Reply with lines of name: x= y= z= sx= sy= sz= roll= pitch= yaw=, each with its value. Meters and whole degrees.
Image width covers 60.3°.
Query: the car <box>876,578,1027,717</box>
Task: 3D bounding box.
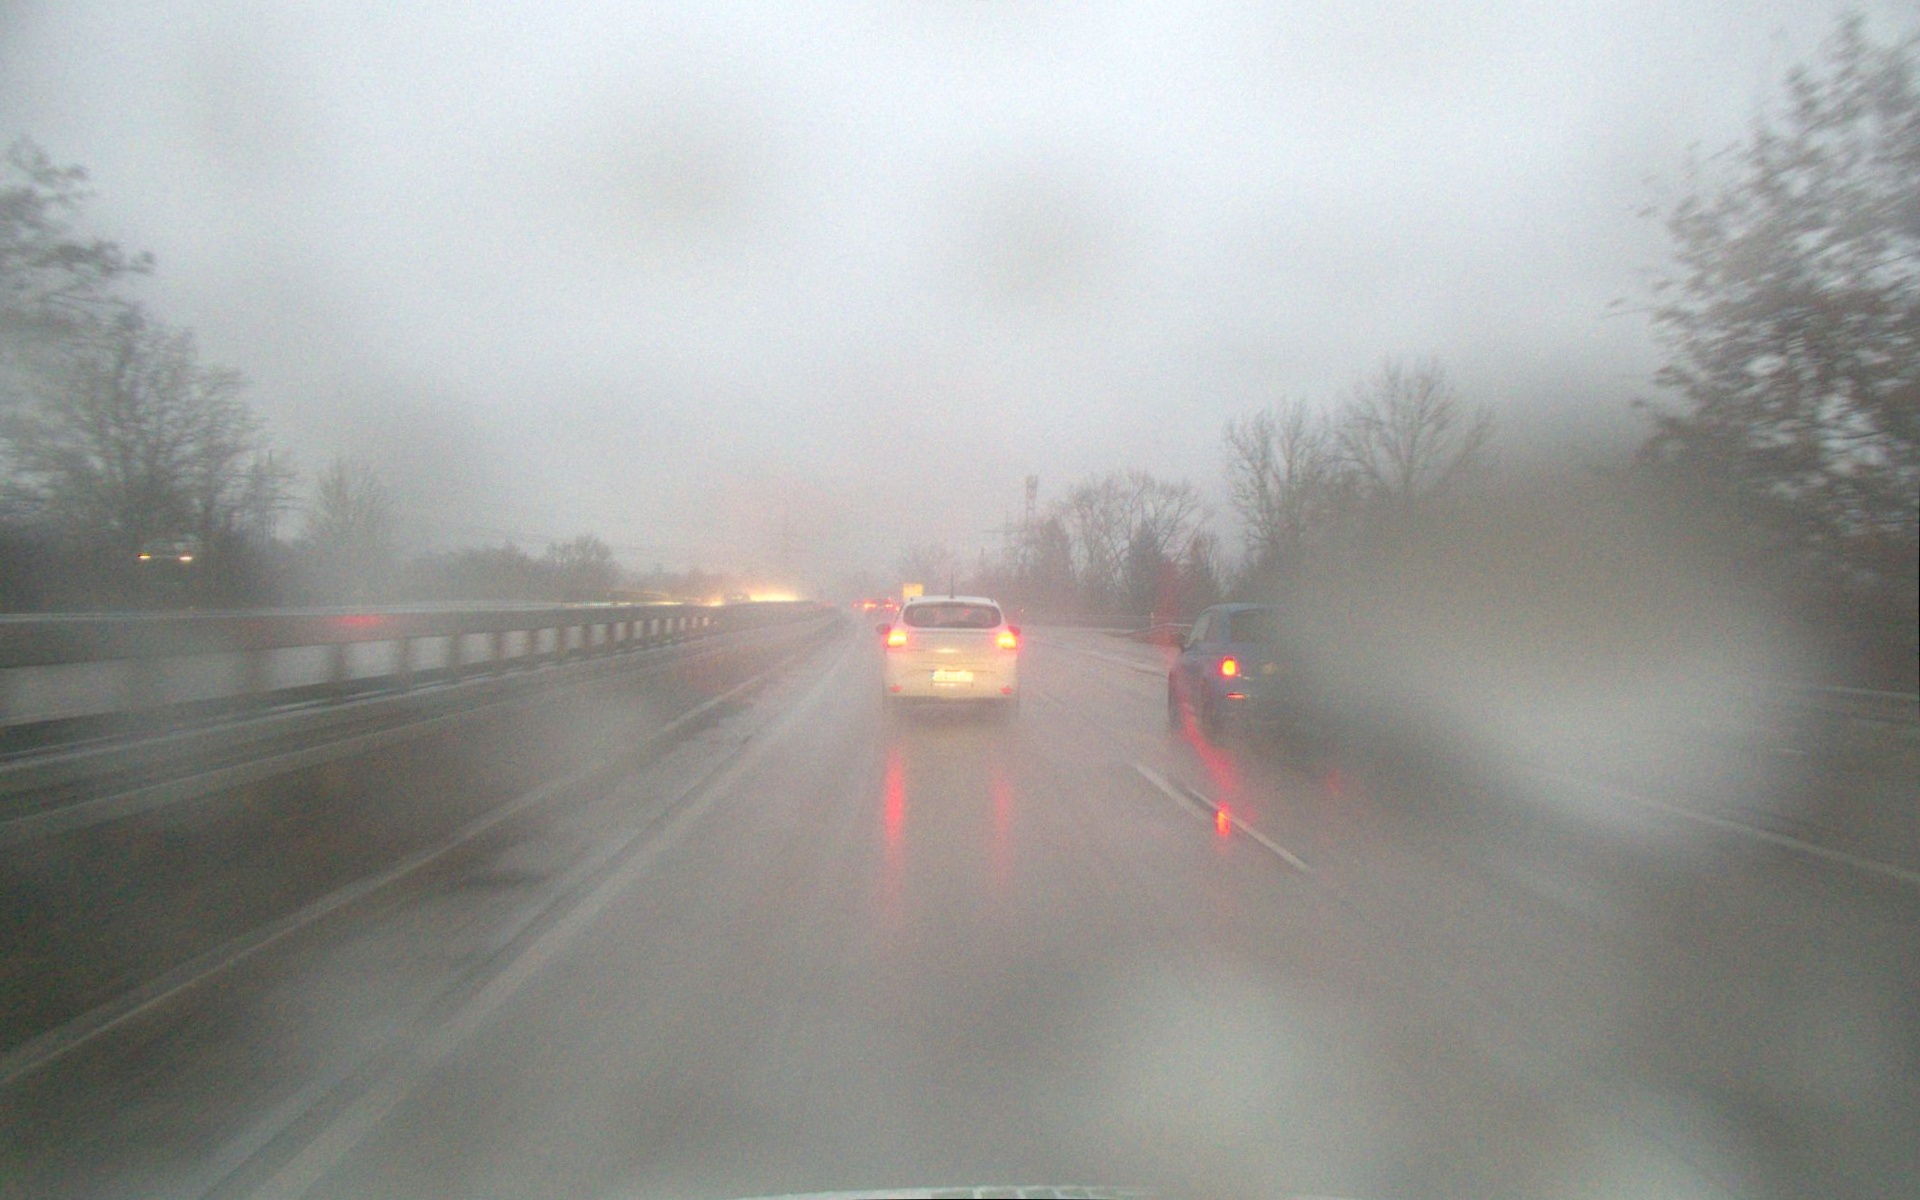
car: x=-0.122 y=0.567 z=22.028 sx=1.808 sy=1.664 sz=3.767 roll=1 pitch=0 yaw=-1

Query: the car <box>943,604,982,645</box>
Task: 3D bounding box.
car: x=0.143 y=1.292 z=88.380 sx=1.836 sy=1.936 sz=4.000 roll=6 pitch=-1 yaw=1

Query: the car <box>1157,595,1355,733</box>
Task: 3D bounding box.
car: x=3.537 y=0.703 z=20.454 sx=1.807 sy=1.479 sz=4.150 roll=1 pitch=0 yaw=2
